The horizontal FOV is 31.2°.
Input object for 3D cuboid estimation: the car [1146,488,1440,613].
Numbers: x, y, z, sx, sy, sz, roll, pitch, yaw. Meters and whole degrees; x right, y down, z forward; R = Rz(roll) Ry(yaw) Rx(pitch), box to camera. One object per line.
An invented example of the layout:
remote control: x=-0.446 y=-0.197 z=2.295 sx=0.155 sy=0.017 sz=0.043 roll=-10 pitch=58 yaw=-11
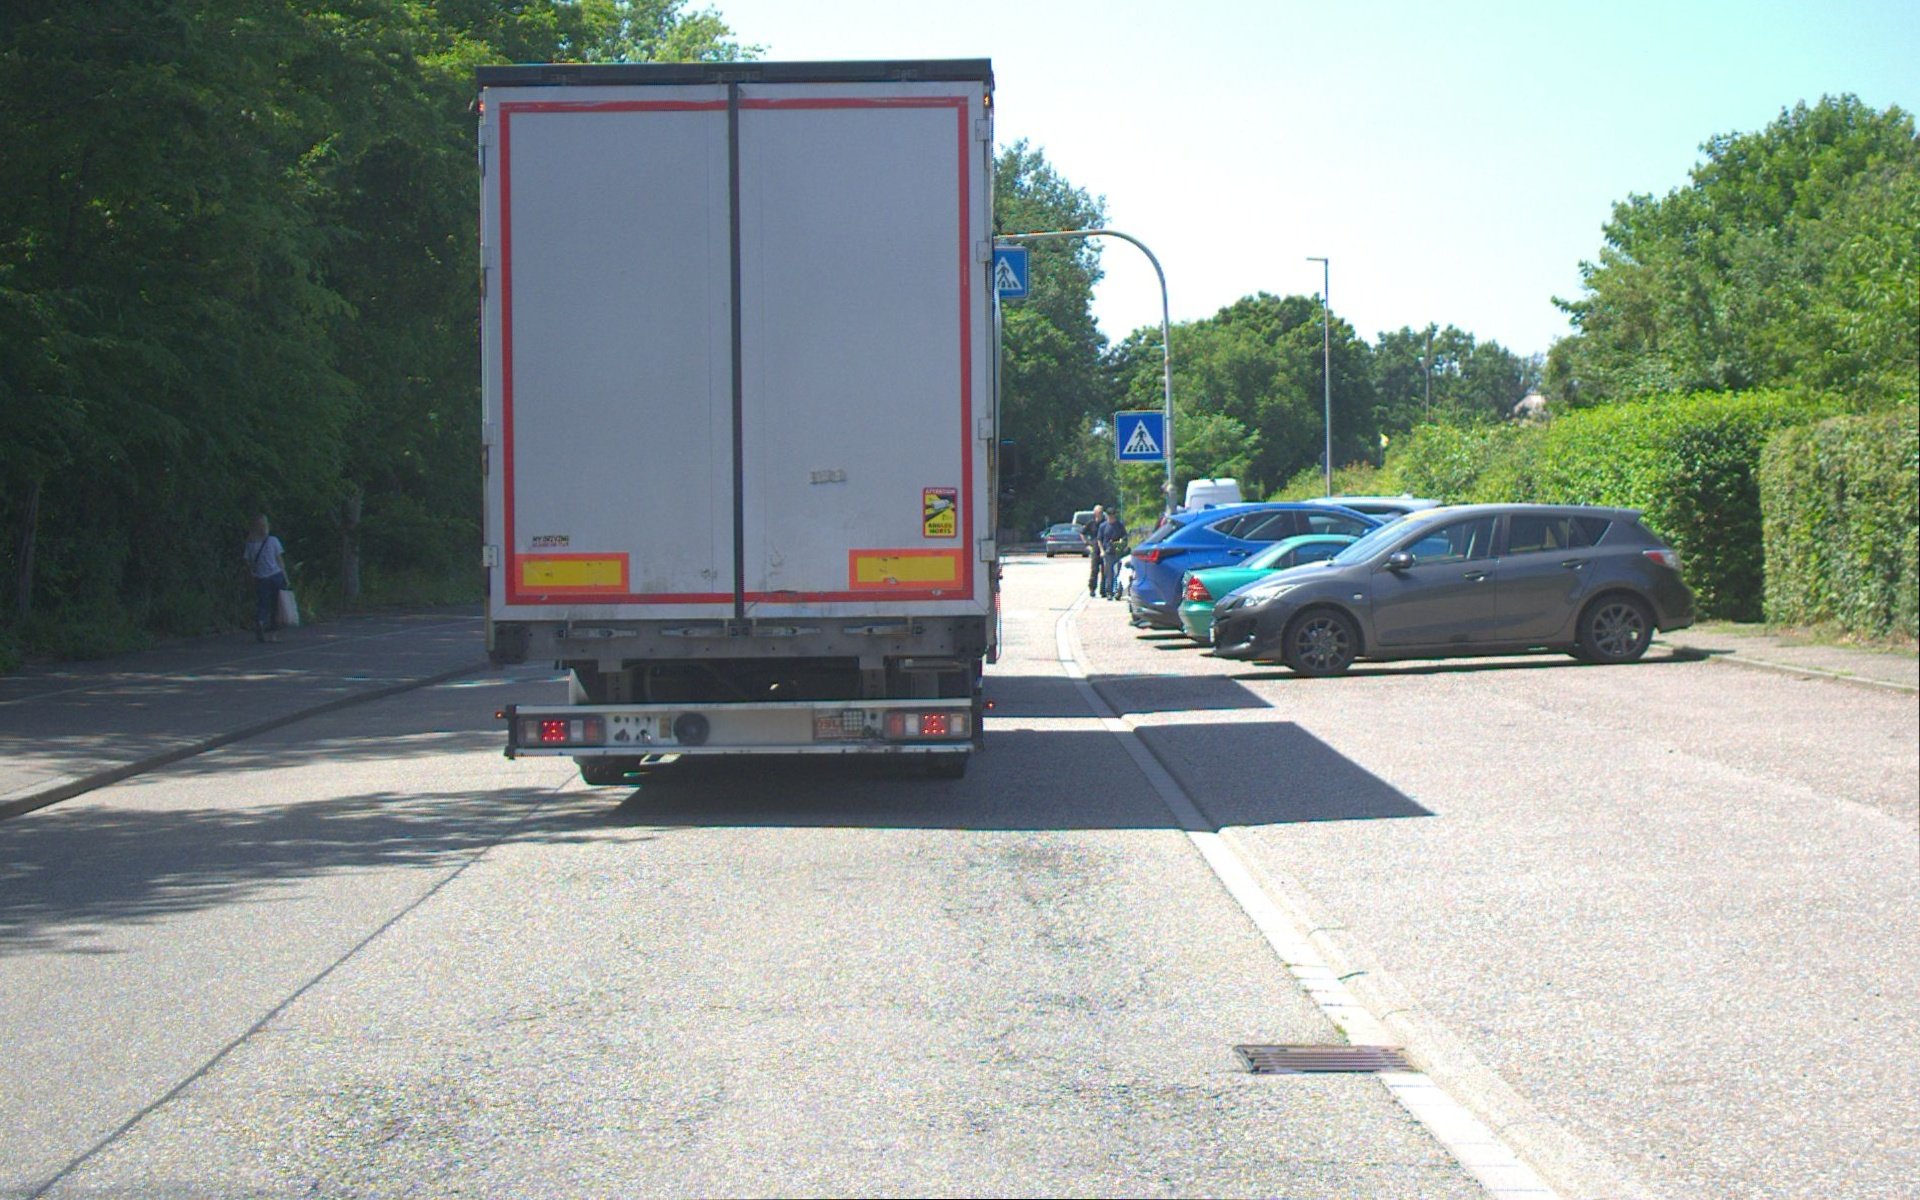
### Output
car: x=4.853 y=-0.734 z=50.545 sx=4.125 sy=1.651 sz=1.887 roll=-2 pitch=1 yaw=2

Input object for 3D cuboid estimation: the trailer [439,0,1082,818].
trailer: x=-1.008 y=-1.134 z=22.624 sx=3.112 sy=4.088 sz=11.537 roll=-1 pitch=1 yaw=0

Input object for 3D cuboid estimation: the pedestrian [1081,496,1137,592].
pedestrian: x=2.894 y=-1.093 z=66.522 sx=0.908 sy=1.792 sz=0.935 roll=-4 pitch=1 yaw=7

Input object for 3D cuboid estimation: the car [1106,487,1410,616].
car: x=4.559 y=-0.747 z=53.094 sx=4.404 sy=1.692 sz=1.877 roll=-3 pitch=1 yaw=-1

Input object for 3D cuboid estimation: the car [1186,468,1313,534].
car: x=9.364 y=-3.191 z=111.217 sx=3.957 sy=1.792 sz=1.813 roll=-4 pitch=-1 yaw=4

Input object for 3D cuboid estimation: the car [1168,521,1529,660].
car: x=4.210 y=-0.120 z=37.661 sx=3.735 sy=1.264 sz=1.628 roll=-3 pitch=1 yaw=2

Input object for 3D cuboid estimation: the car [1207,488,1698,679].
car: x=4.445 y=-0.164 z=31.485 sx=4.163 sy=1.490 sz=1.883 roll=-3 pitch=1 yaw=0

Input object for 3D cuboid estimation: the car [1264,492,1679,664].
car: x=5.060 y=-0.229 z=34.373 sx=3.801 sy=1.450 sz=1.774 roll=-3 pitch=1 yaw=0

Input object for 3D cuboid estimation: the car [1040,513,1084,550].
car: x=4.246 y=-2.853 z=143.273 sx=1.781 sy=1.481 sz=4.000 roll=0 pitch=2 yaw=2

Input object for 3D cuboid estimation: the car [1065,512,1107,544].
car: x=5.737 y=-3.306 z=156.992 sx=1.618 sy=1.419 sz=3.669 roll=-1 pitch=2 yaw=-2

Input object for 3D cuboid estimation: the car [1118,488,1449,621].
car: x=4.325 y=-0.602 z=46.470 sx=4.235 sy=1.648 sz=1.900 roll=-2 pitch=0 yaw=-1

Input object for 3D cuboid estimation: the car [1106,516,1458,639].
car: x=4.021 y=-0.303 z=43.327 sx=4.129 sy=1.434 sz=1.815 roll=-1 pitch=1 yaw=-5

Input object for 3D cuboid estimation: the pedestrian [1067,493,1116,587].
pedestrian: x=2.646 y=-1.208 z=69.209 sx=0.822 sy=1.828 sz=0.792 roll=-4 pitch=1 yaw=7

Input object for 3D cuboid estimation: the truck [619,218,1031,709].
truck: x=-1.044 y=-1.122 z=29.448 sx=3.113 sy=3.712 sz=6.414 roll=-1 pitch=1 yaw=0

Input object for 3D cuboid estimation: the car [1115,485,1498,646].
car: x=4.026 y=-0.421 z=40.441 sx=4.238 sy=1.628 sz=1.823 roll=-3 pitch=1 yaw=0

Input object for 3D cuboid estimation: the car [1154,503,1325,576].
car: x=6.862 y=-1.497 z=84.671 sx=3.956 sy=1.613 sz=1.814 roll=-2 pitch=1 yaw=-2

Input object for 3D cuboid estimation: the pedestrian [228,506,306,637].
pedestrian: x=-8.717 y=-0.364 z=43.242 sx=0.828 sy=1.617 sz=0.783 roll=1 pitch=2 yaw=-1
